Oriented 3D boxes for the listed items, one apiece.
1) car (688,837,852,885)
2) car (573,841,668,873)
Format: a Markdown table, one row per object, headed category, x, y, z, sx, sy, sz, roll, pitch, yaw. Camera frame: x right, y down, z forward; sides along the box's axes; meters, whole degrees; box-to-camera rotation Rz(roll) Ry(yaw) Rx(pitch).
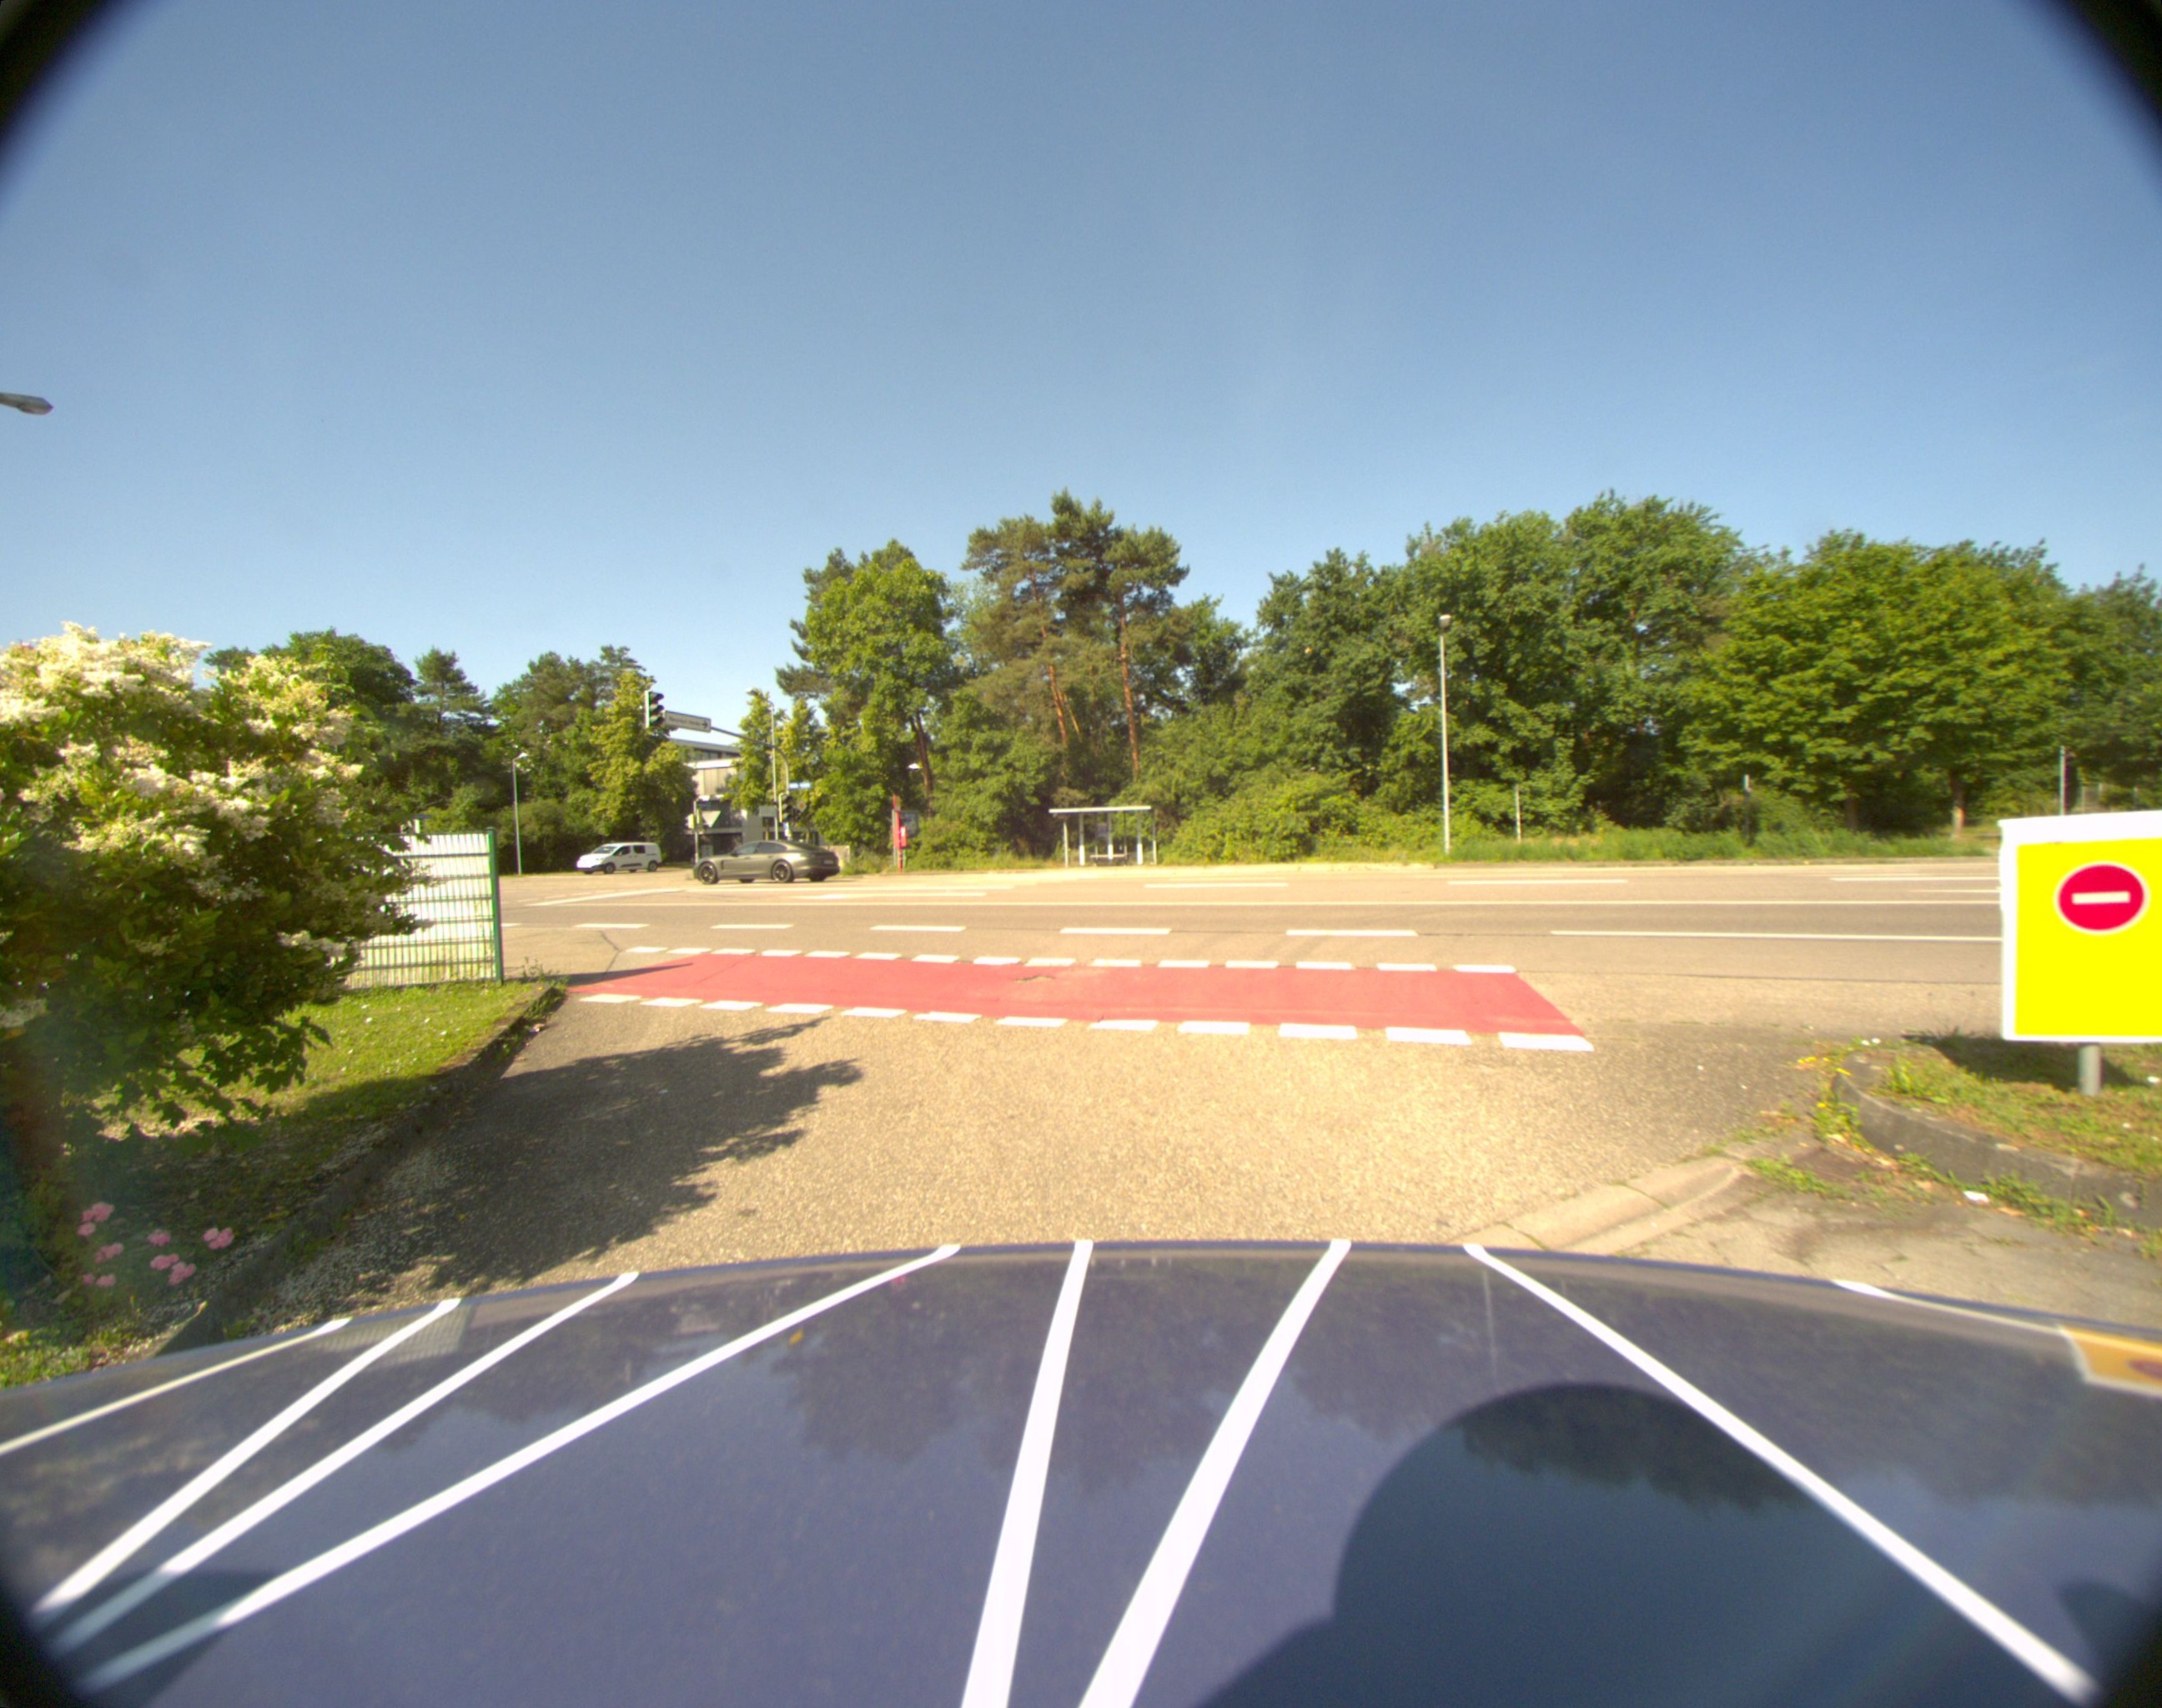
| category | x | y | z | sx | sy | sz | roll | pitch | yaw |
| --- | --- | --- | --- | --- | --- | --- | --- | --- | --- |
| car | -10.206 | 0.238 | 24.942 | 4.901 | 1.487 | 1.855 | -1 | 1 | 18 |
| car | -27.211 | 0.136 | 45.076 | 1.848 | 1.768 | 4.667 | -1 | 1 | 18 |
